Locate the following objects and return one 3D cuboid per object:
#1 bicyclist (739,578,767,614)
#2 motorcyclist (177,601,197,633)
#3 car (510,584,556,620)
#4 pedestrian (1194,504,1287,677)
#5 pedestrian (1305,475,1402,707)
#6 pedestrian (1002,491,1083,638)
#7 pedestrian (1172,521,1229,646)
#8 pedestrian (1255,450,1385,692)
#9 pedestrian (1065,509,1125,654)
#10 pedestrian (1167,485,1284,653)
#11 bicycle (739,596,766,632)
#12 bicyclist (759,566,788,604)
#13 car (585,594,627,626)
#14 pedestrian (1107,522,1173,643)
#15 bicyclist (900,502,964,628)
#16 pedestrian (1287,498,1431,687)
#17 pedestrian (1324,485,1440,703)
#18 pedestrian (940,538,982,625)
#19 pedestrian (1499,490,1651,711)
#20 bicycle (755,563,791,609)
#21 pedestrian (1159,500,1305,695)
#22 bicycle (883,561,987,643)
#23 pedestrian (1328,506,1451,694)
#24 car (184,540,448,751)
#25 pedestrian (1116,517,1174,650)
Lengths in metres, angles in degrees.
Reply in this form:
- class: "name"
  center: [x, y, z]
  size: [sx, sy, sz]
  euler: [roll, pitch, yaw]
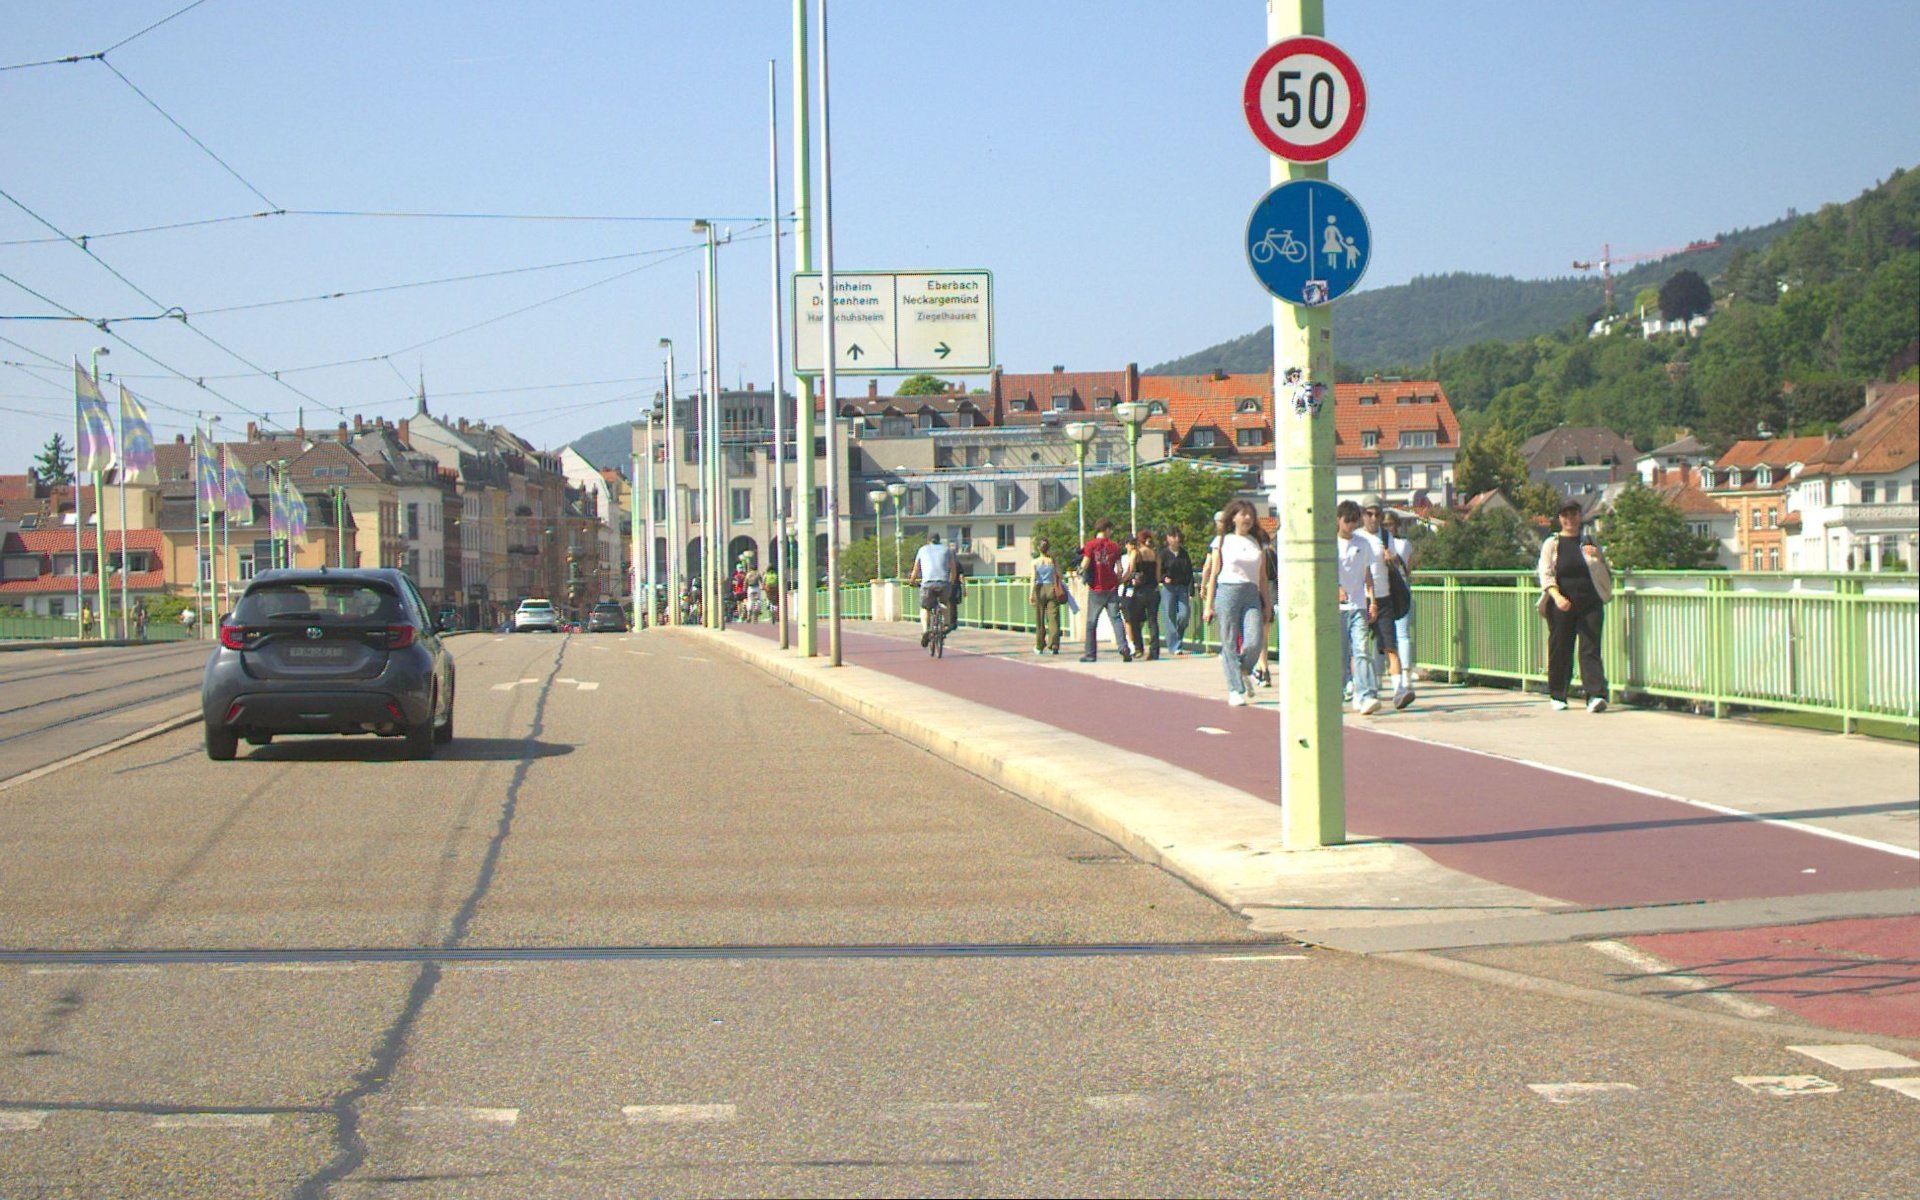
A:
- class: "bicyclist"
  center: [-6.105, -0.121, 101.393]
  size: [0.735, 1.027, 1.175]
  euler: [-1, 0, -8]
- class: "motorcyclist"
  center: [-37.697, 0.818, 167.689]
  size: [0.800, 1.544, 1.069]
  euler: [-1, 0, -7]
- class: "car"
  center: [-18.534, 0.093, 149.109]
  size: [1.803, 1.464, 4.001]
  euler: [-2, 0, -9]
- class: "pedestrian"
  center: [2.712, -0.089, 33.295]
  size: [0.654, 1.644, 0.868]
  euler: [-1, 0, -12]
- class: "pedestrian"
  center: [3.082, -0.069, 26.956]
  size: [0.549, 1.793, 0.646]
  euler: [-1, 0, -12]
- class: "pedestrian"
  center: [1.138, -0.481, 47.647]
  size: [0.873, 2.007, 1.059]
  euler: [-1, 0, -12]
- class: "pedestrian"
  center: [3.165, -0.219, 45.302]
  size: [0.649, 1.626, 0.692]
  euler: [0, 0, -5]
- class: "pedestrian"
  center: [3.043, -0.244, 29.125]
  size: [0.803, 2.007, 0.954]
  euler: [-1, 0, -12]
- class: "pedestrian"
  center: [1.679, -0.230, 42.773]
  size: [0.585, 1.787, 0.632]
  euler: [-1, 0, -11]
- class: "pedestrian"
  center: [3.035, -0.347, 39.441]
  size: [0.984, 1.888, 1.254]
  euler: [-1, 0, -12]
- class: "bicycle"
  center: [-6.118, 0.408, 101.465]
  size: [0.618, 1.034, 2.051]
  euler: [-1, 0, -8]
- class: "bicyclist"
  center: [-5.130, -0.410, 94.541]
  size: [0.666, 1.041, 0.980]
  euler: [0, 1, -12]
- class: "car"
  center: [-16.945, 0.492, 164.707]
  size: [1.803, 1.464, 4.000]
  euler: [-2, 0, -4]
- class: "pedestrian"
  center: [2.360, -0.229, 45.115]
  size: [0.649, 1.557, 0.692]
  euler: [-2, 1, -12]
- class: "bicyclist"
  center: [-0.403, -0.490, 48.563]
  size: [0.673, 1.738, 1.151]
  euler: [-1, 0, -11]
- class: "pedestrian"
  center: [3.857, -0.078, 33.316]
  size: [0.984, 1.763, 1.254]
  euler: [-2, 0, -12]
- class: "pedestrian"
  center: [3.376, -0.048, 27.542]
  size: [0.695, 1.711, 0.732]
  euler: [-1, 0, -12]
- class: "pedestrian"
  center: [0.017, -0.374, 69.658]
  size: [0.654, 1.738, 0.979]
  euler: [-1, 1, -12]
- class: "pedestrian"
  center: [4.662, 0.001, 26.102]
  size: [0.799, 1.629, 0.950]
  euler: [-1, 0, -12]
- class: "bicycle"
  center: [-5.129, -0.374, 94.258]
  size: [0.695, 1.189, 2.080]
  euler: [-2, -1, -10]
- class: "pedestrian"
  center: [2.303, -0.021, 29.196]
  size: [0.984, 1.610, 0.922]
  euler: [-1, 0, -12]
- class: "bicycle"
  center: [-0.376, 0.034, 48.485]
  size: [0.792, 1.092, 3.745]
  euler: [-2, 0, -11]
- class: "pedestrian"
  center: [3.900, 0.001, 31.253]
  size: [0.833, 1.671, 0.886]
  euler: [-1, 0, -12]
- class: "car"
  center: [-5.128, 0.326, 27.754]
  size: [1.909, 1.535, 4.001]
  euler: [-1, 1, -9]
- class: "pedestrian"
  center: [2.307, -0.202, 42.886]
  size: [0.522, 1.644, 0.700]
  euler: [-1, 0, -12]
